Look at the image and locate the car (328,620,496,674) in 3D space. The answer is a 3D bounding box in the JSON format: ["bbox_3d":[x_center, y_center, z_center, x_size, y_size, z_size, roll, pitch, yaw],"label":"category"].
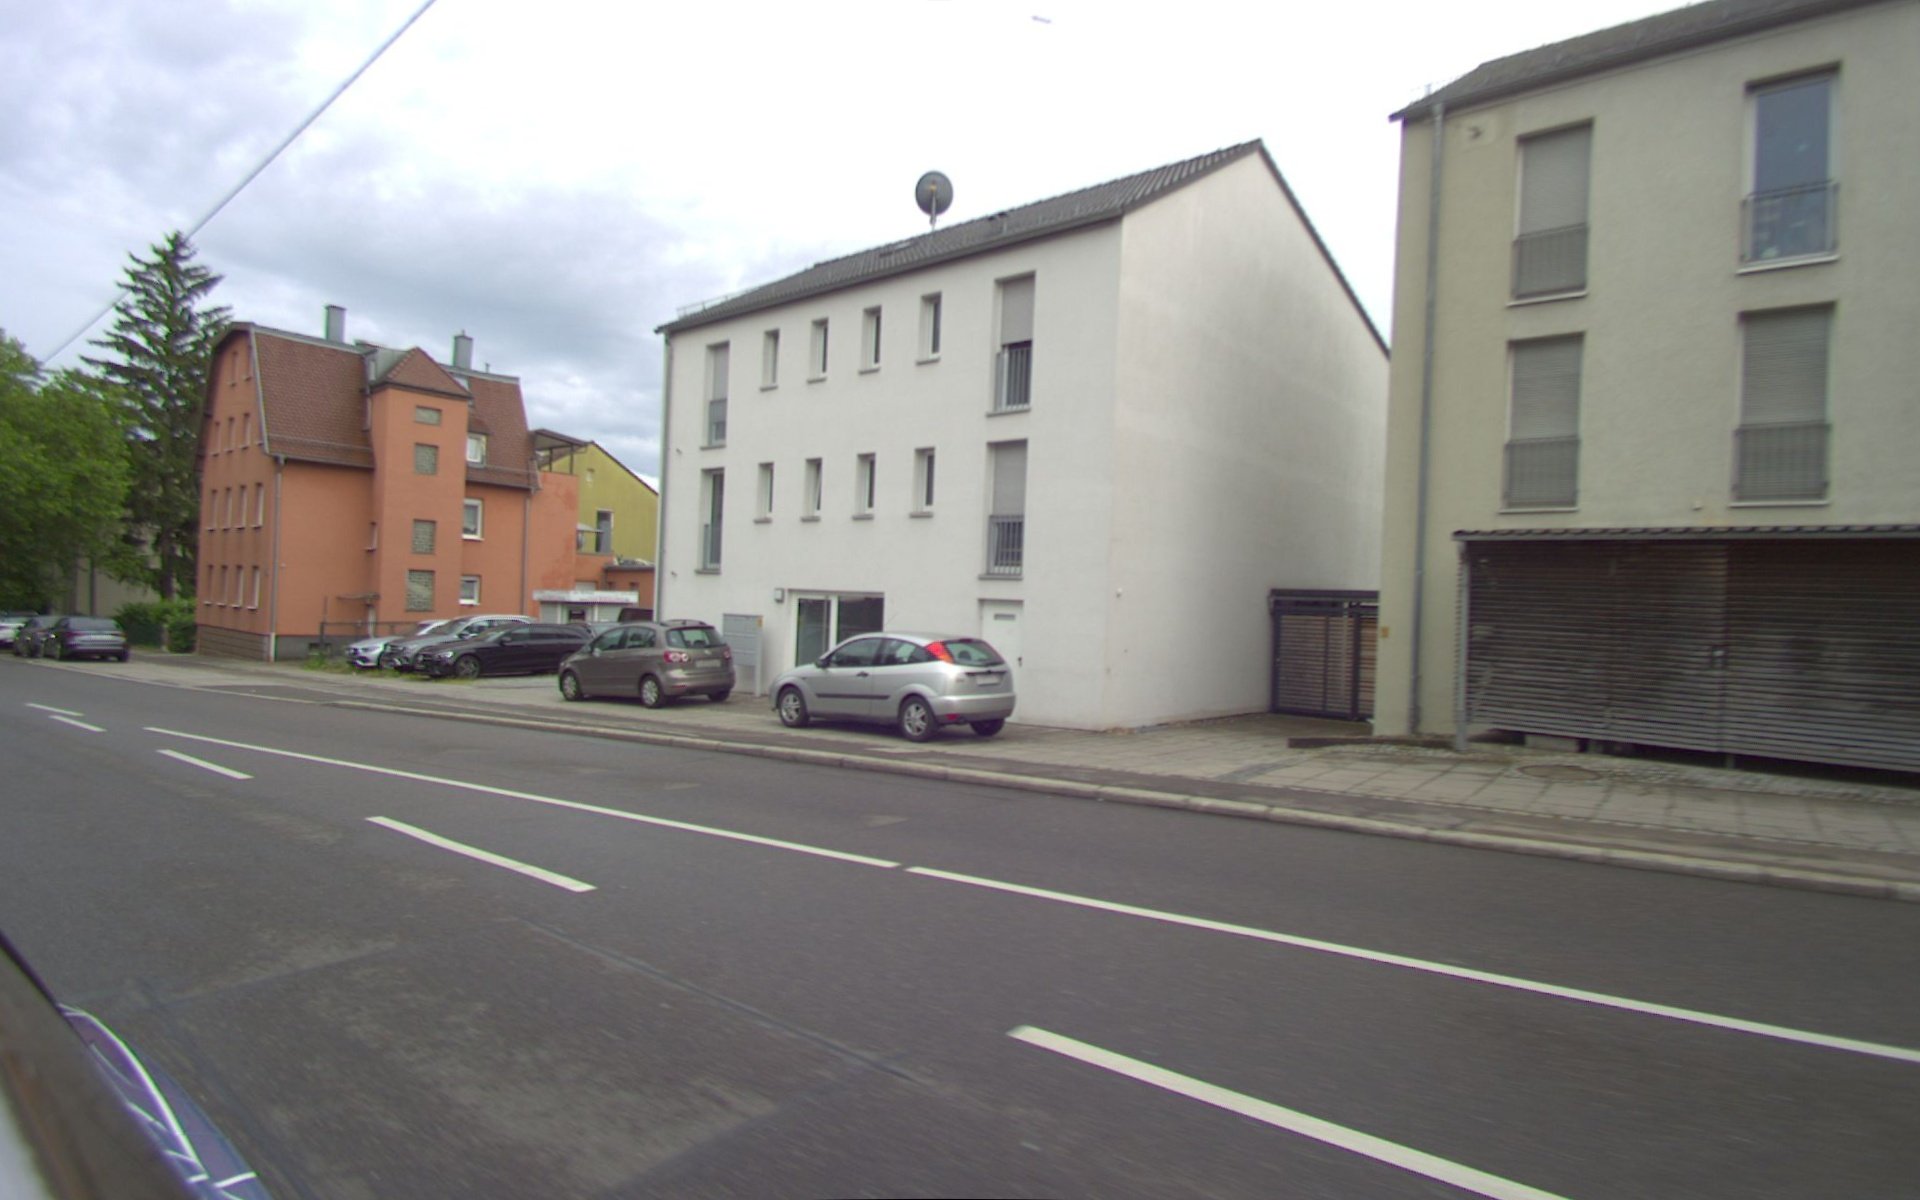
[{"bbox_3d":[-16.750,1.379,31.078,2.000,1.444,4.117,-1,0,42],"label":"car"}]

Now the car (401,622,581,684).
[{"bbox_3d":[-12.758,1.378,27.698,1.895,1.475,4.082,-1,0,42],"label":"car"}]

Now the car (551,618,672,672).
[{"bbox_3d":[-10.854,1.374,31.450,3.997,1.574,1.763,-1,-3,41],"label":"car"}]

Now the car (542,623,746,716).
[{"bbox_3d":[-6.204,1.263,19.685,4.076,1.564,1.729,-1,0,37],"label":"car"}]

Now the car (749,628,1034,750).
[{"bbox_3d":[-1.103,1.187,14.878,4.175,1.519,1.727,-1,-2,41],"label":"car"}]

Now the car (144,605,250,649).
[{"bbox_3d":[-36.831,1.256,48.897,3.939,2.029,2.002,0,-1,-42],"label":"car"}]

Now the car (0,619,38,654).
[{"bbox_3d":[-40.955,1.518,43.216,4.196,1.444,1.793,-1,-2,41],"label":"car"}]

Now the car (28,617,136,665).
[{"bbox_3d":[-28.139,1.311,32.398,4.193,1.421,1.767,-1,-4,38],"label":"car"}]

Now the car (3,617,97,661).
[{"bbox_3d":[-31.882,1.333,35.425,4.194,1.463,1.794,-1,-2,39],"label":"car"}]

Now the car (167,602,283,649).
[{"bbox_3d":[-33.780,1.131,46.602,1.998,2.029,3.948,0,-1,39],"label":"car"}]

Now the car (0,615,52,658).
[{"bbox_3d":[-36.875,1.380,39.259,4.196,1.558,1.793,-1,-5,41],"label":"car"}]

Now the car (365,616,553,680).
[{"bbox_3d":[-14.618,1.335,29.726,2.153,1.620,4.483,-1,0,42],"label":"car"}]
